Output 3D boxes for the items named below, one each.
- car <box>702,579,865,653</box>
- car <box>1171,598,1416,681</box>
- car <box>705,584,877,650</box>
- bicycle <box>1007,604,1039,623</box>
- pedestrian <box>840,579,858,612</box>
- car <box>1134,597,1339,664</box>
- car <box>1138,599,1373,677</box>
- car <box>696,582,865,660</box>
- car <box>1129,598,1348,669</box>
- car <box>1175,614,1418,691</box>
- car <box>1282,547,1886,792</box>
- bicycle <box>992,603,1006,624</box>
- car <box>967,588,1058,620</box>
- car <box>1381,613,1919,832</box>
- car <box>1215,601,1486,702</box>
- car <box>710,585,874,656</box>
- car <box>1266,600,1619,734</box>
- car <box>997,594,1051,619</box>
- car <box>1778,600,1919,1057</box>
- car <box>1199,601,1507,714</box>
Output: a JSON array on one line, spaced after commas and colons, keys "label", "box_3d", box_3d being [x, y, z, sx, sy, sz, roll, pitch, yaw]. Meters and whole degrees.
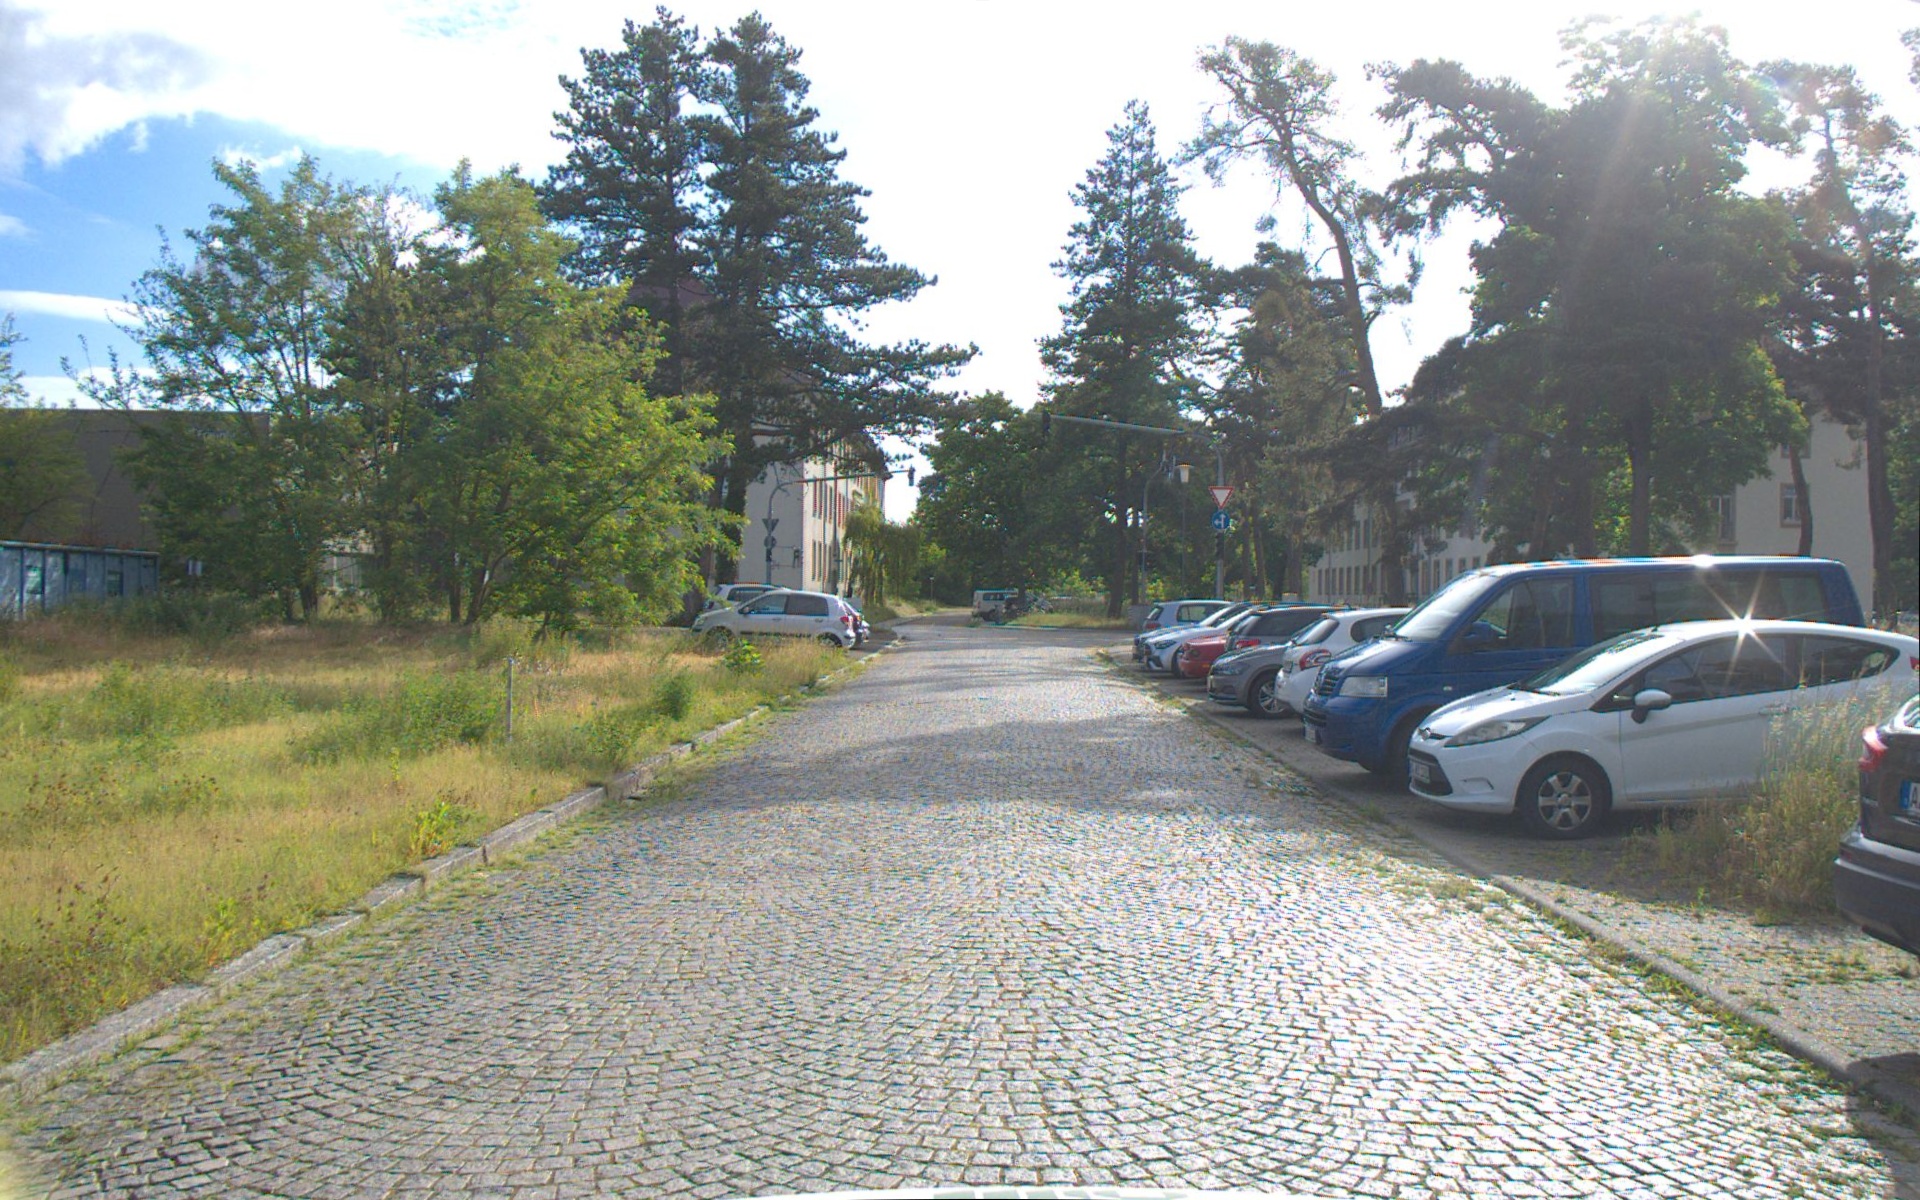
[{"label": "car", "box_3d": [-4.566, 0.413, 43.213, 4.040, 1.627, 1.857, 4, -1, -4]}, {"label": "car", "box_3d": [6.170, 0.725, 30.963, 4.251, 1.499, 1.740, 0, -1, 0]}, {"label": "car", "box_3d": [-4.620, 0.451, 45.756, 4.495, 1.480, 1.903, 4, 1, -2]}, {"label": "bicycle", "box_3d": [3.450, 0.714, 90.779, 1.756, 1.016, 0.644, 0, 1, -1]}, {"label": "pedestrian", "box_3d": [-6.862, -0.269, 102.223, 0.965, 1.998, 0.932, 1, -1, 0]}, {"label": "car", "box_3d": [6.394, 0.706, 38.636, 4.451, 1.532, 1.932, 0, -1, -1]}, {"label": "car", "box_3d": [5.870, 0.748, 33.236, 4.414, 1.499, 1.849, 0, -1, 0]}, {"label": "car", "box_3d": [-4.062, 0.481, 37.857, 3.609, 1.499, 1.849, 4, -1, -1]}, {"label": "car", "box_3d": [6.015, 0.721, 36.014, 4.417, 1.499, 1.894, 0, -1, -3]}, {"label": "car", "box_3d": [5.753, 0.883, 28.588, 3.869, 1.283, 1.727, 0, -1, 1]}, {"label": "car", "box_3d": [5.409, 0.586, 14.819, 4.636, 1.962, 1.992, -1, -1, 0]}, {"label": "bicycle", "box_3d": [2.048, 0.691, 86.182, 0.713, 1.016, 1.799, 0, 1, 1]}, {"label": "car", "box_3d": [3.347, 0.259, 105.700, 5.406, 1.949, 2.247, 1, -1, -13]}, {"label": "car", "box_3d": [5.426, 0.845, 12.305, 4.107, 1.495, 1.806, 0, -1, -3]}, {"label": "car", "box_3d": [6.051, 0.789, 25.946, 3.869, 1.521, 1.772, 0, -1, 1]}, {"label": "car", "box_3d": [-4.064, 0.500, 40.513, 3.751, 1.454, 1.859, 4, -1, 0]}, {"label": "car", "box_3d": [5.781, 0.784, 20.167, 3.794, 1.557, 1.808, 0, -1, 1]}, {"label": "car", "box_3d": [3.955, 0.417, 102.126, 2.979, 1.491, 1.715, 1, -1, -12]}, {"label": "car", "box_3d": [5.452, 0.813, 5.948, 4.105, 1.617, 1.878, 0, -1, 0]}, {"label": "car", "box_3d": [5.384, 0.774, 23.030, 3.869, 1.493, 1.831, 0, -1, 1]}]
